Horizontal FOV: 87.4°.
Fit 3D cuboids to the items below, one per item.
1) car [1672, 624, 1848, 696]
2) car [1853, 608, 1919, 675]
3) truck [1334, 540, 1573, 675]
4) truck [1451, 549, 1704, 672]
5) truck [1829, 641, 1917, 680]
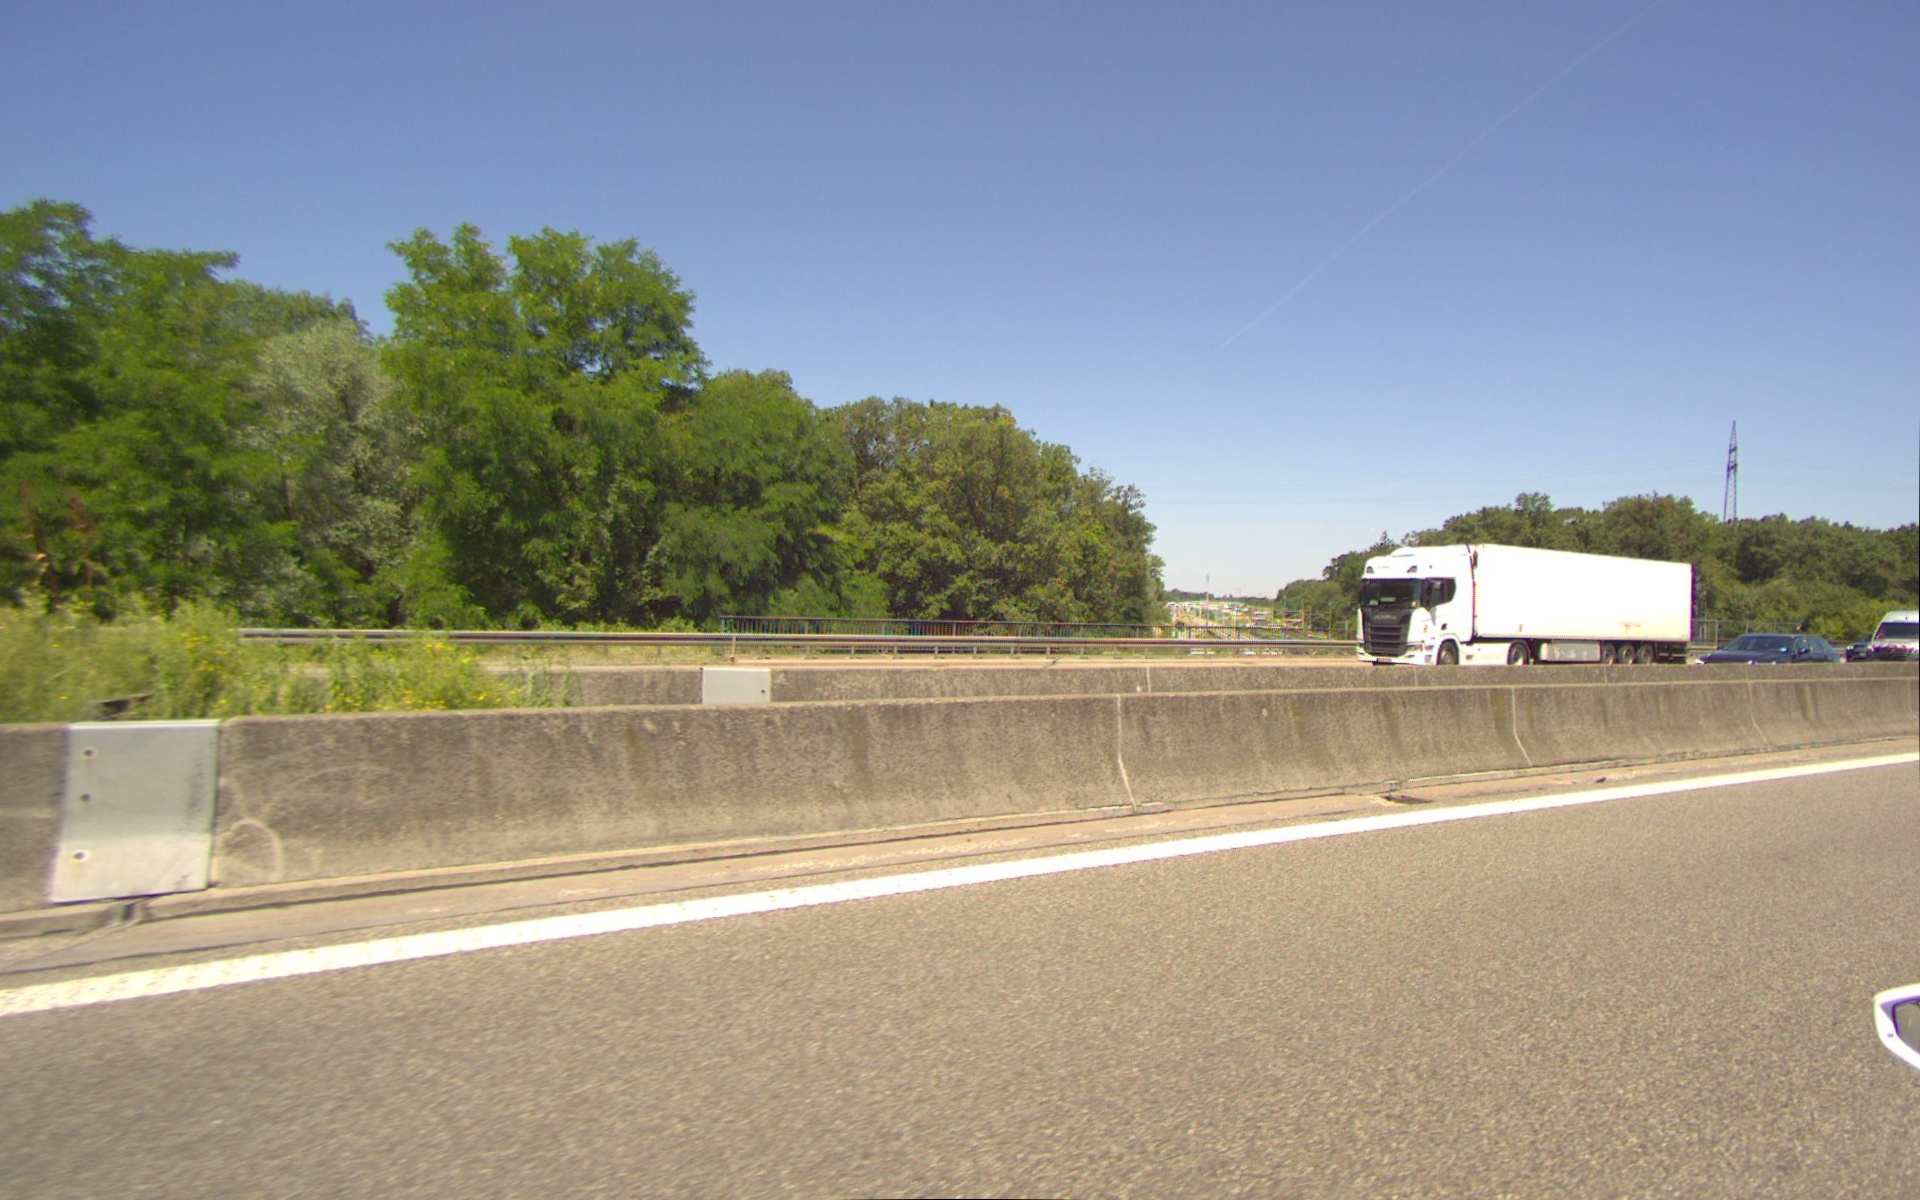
[{"bbox_3d":[20.867,1.531,26.155,4.958,1.650,1.983,2,0,-31],"label":"car"},{"bbox_3d":[40.047,1.730,42.183,6.056,2.602,1.984,2,0,-30],"label":"car"},{"bbox_3d":[16.438,0.315,33.290,8.189,4.030,3.034,1,0,-30],"label":"truck"},{"bbox_3d":[22.961,0.464,37.065,11.016,4.030,3.034,1,0,-30],"label":"truck"},{"bbox_3d":[45.982,3.029,50.568,4.688,1.824,1.983,2,0,-31],"label":"truck"}]
